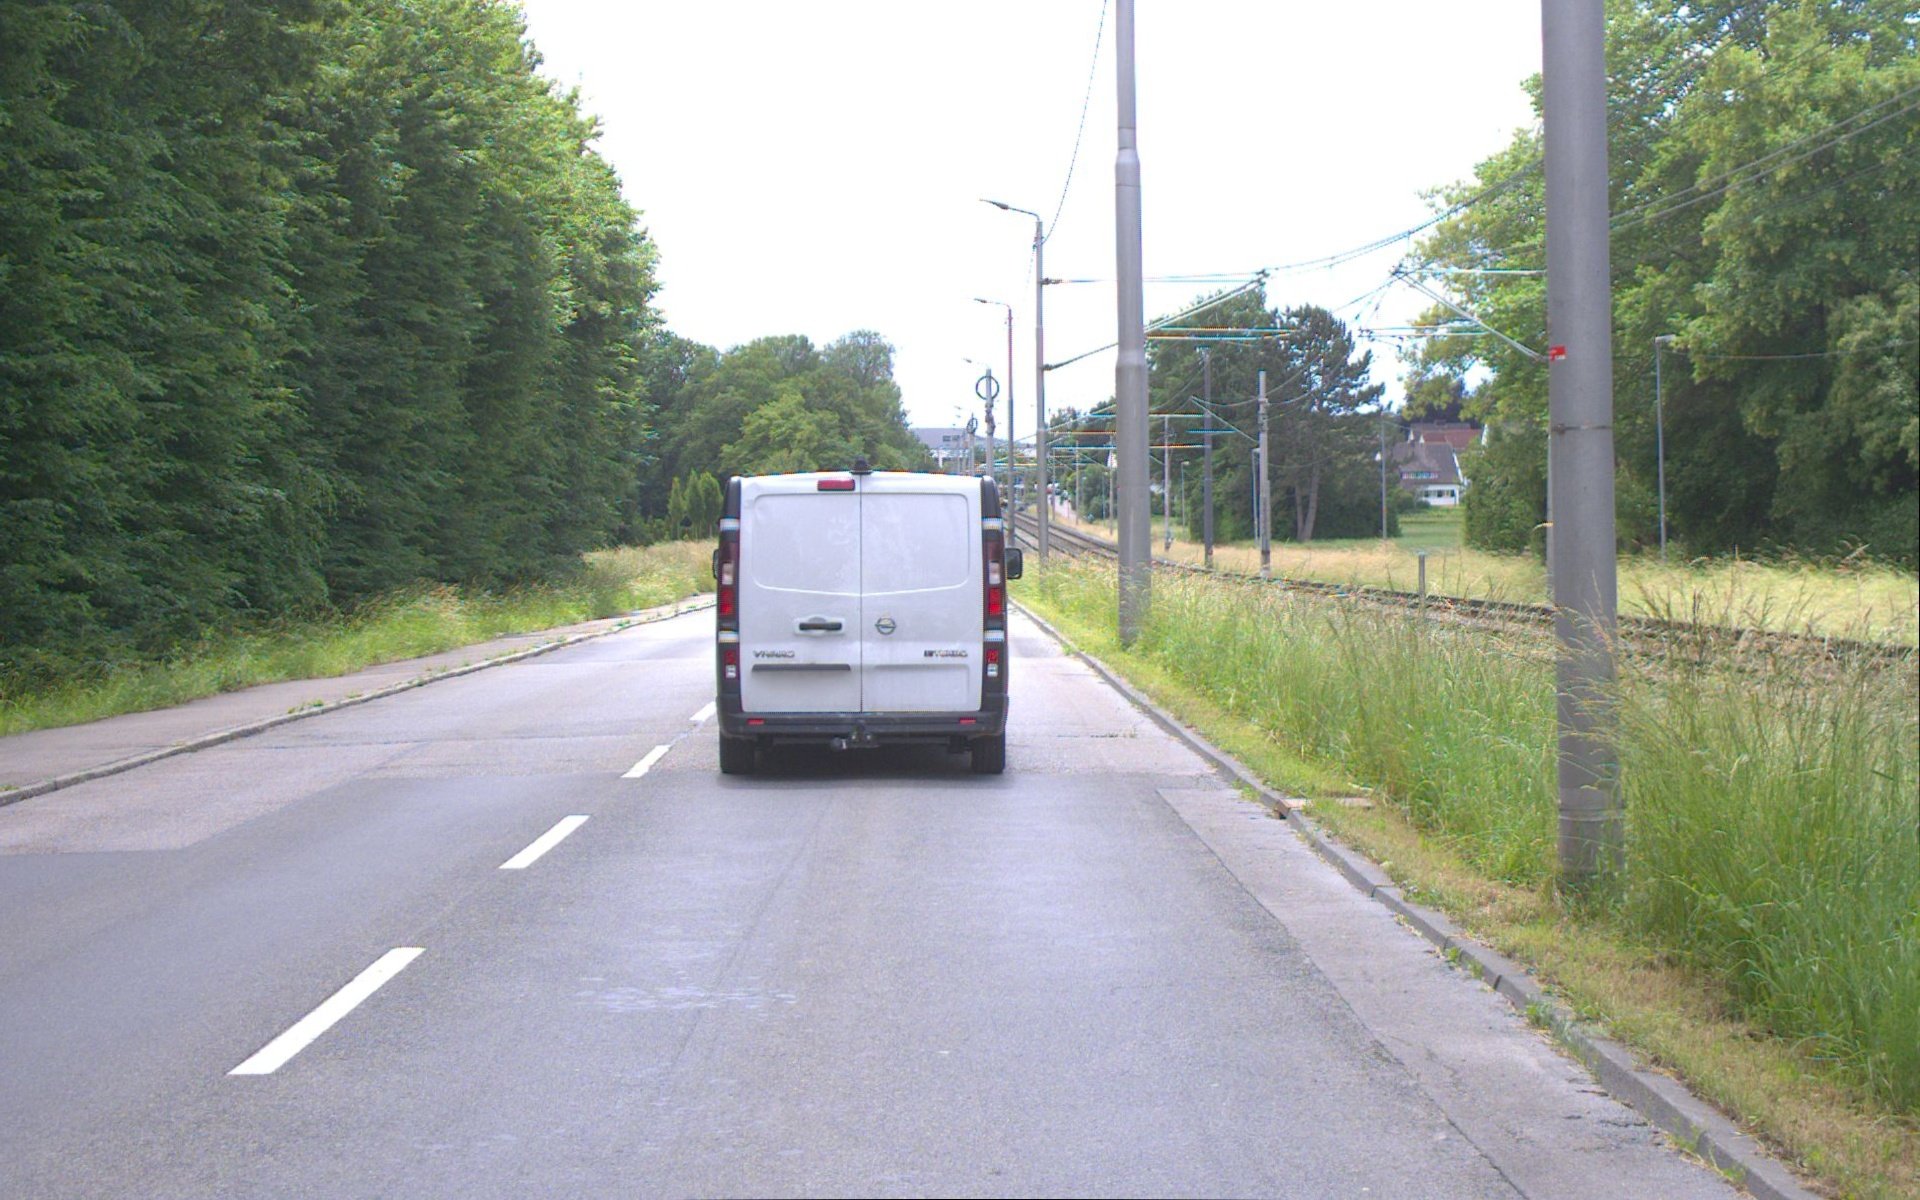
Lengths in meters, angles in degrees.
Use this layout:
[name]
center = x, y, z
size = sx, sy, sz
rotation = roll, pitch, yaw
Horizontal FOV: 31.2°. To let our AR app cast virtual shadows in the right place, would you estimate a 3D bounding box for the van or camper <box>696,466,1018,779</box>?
[van or camper]
center = -0.622, 0.102, 23.285
size = 1.942, 1.890, 4.285
rotation = -1, 1, 0
